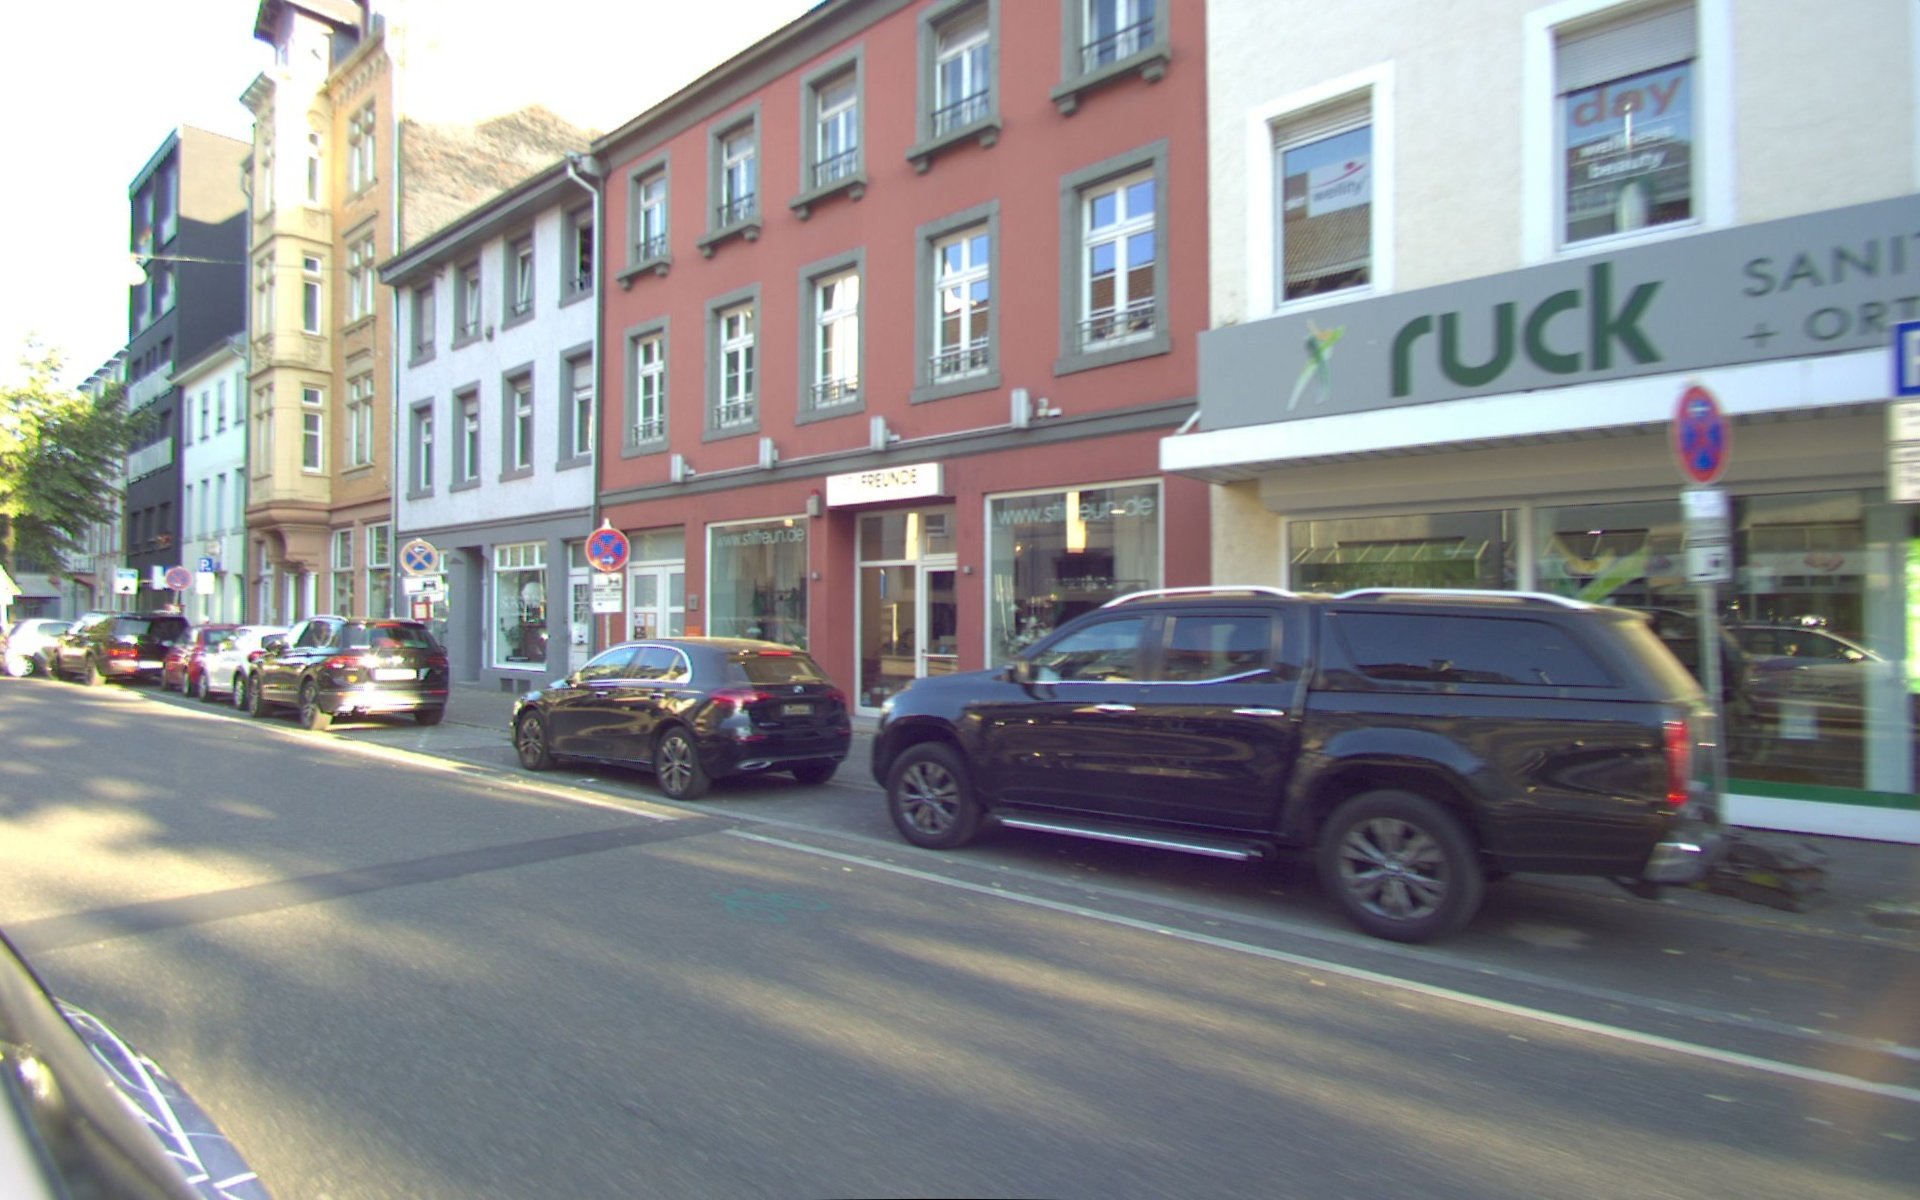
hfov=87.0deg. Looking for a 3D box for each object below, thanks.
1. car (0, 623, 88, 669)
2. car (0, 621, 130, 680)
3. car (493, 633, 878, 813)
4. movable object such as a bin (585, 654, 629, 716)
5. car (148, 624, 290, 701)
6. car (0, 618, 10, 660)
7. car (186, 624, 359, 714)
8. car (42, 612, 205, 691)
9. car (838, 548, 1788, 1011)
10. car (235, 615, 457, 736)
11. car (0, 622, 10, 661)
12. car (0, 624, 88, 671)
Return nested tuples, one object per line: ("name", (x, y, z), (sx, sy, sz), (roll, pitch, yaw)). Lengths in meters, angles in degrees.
("car", (-30.451, 1.477, 32.647), (1.687, 1.402, 3.359), (-2, -1, 43))
("car", (-24.667, 1.388, 27.706), (1.569, 1.532, 2.668), (-2, -4, 37))
("car", (-2.958, 1.092, 10.390), (4.307, 1.451, 1.695), (-1, -3, 41))
("movable object such as a bin", (-6.024, 1.440, 17.274), (0.670, 0.997, 0.425), (-1, -1, 41))
("car", (-16.079, 1.306, 21.916), (3.483, 1.526, 1.755), (-1, -4, 42))
("car", (-44.296, 1.720, 44.349), (1.701, 1.863, 3.767), (-1, -2, 44))
("car", (-13.052, 1.243, 19.136), (3.948, 1.526, 1.755), (-1, -3, 42))
("car", (-20.170, 1.184, 24.342), (4.693, 1.741, 1.887), (-1, -3, 36))
("car", (1.752, 0.785, 6.413), (5.342, 1.824, 1.809), (-1, -3, 39))
("car", (-9.689, 1.106, 15.839), (4.236, 1.645, 1.755), (-1, -4, 42))
("car", (-40.815, 1.719, 40.649), (1.742, 1.597, 3.783), (-1, 0, 43))
("car", (-32.332, 1.606, 34.424), (1.856, 1.529, 3.852), (-2, -1, 41))
